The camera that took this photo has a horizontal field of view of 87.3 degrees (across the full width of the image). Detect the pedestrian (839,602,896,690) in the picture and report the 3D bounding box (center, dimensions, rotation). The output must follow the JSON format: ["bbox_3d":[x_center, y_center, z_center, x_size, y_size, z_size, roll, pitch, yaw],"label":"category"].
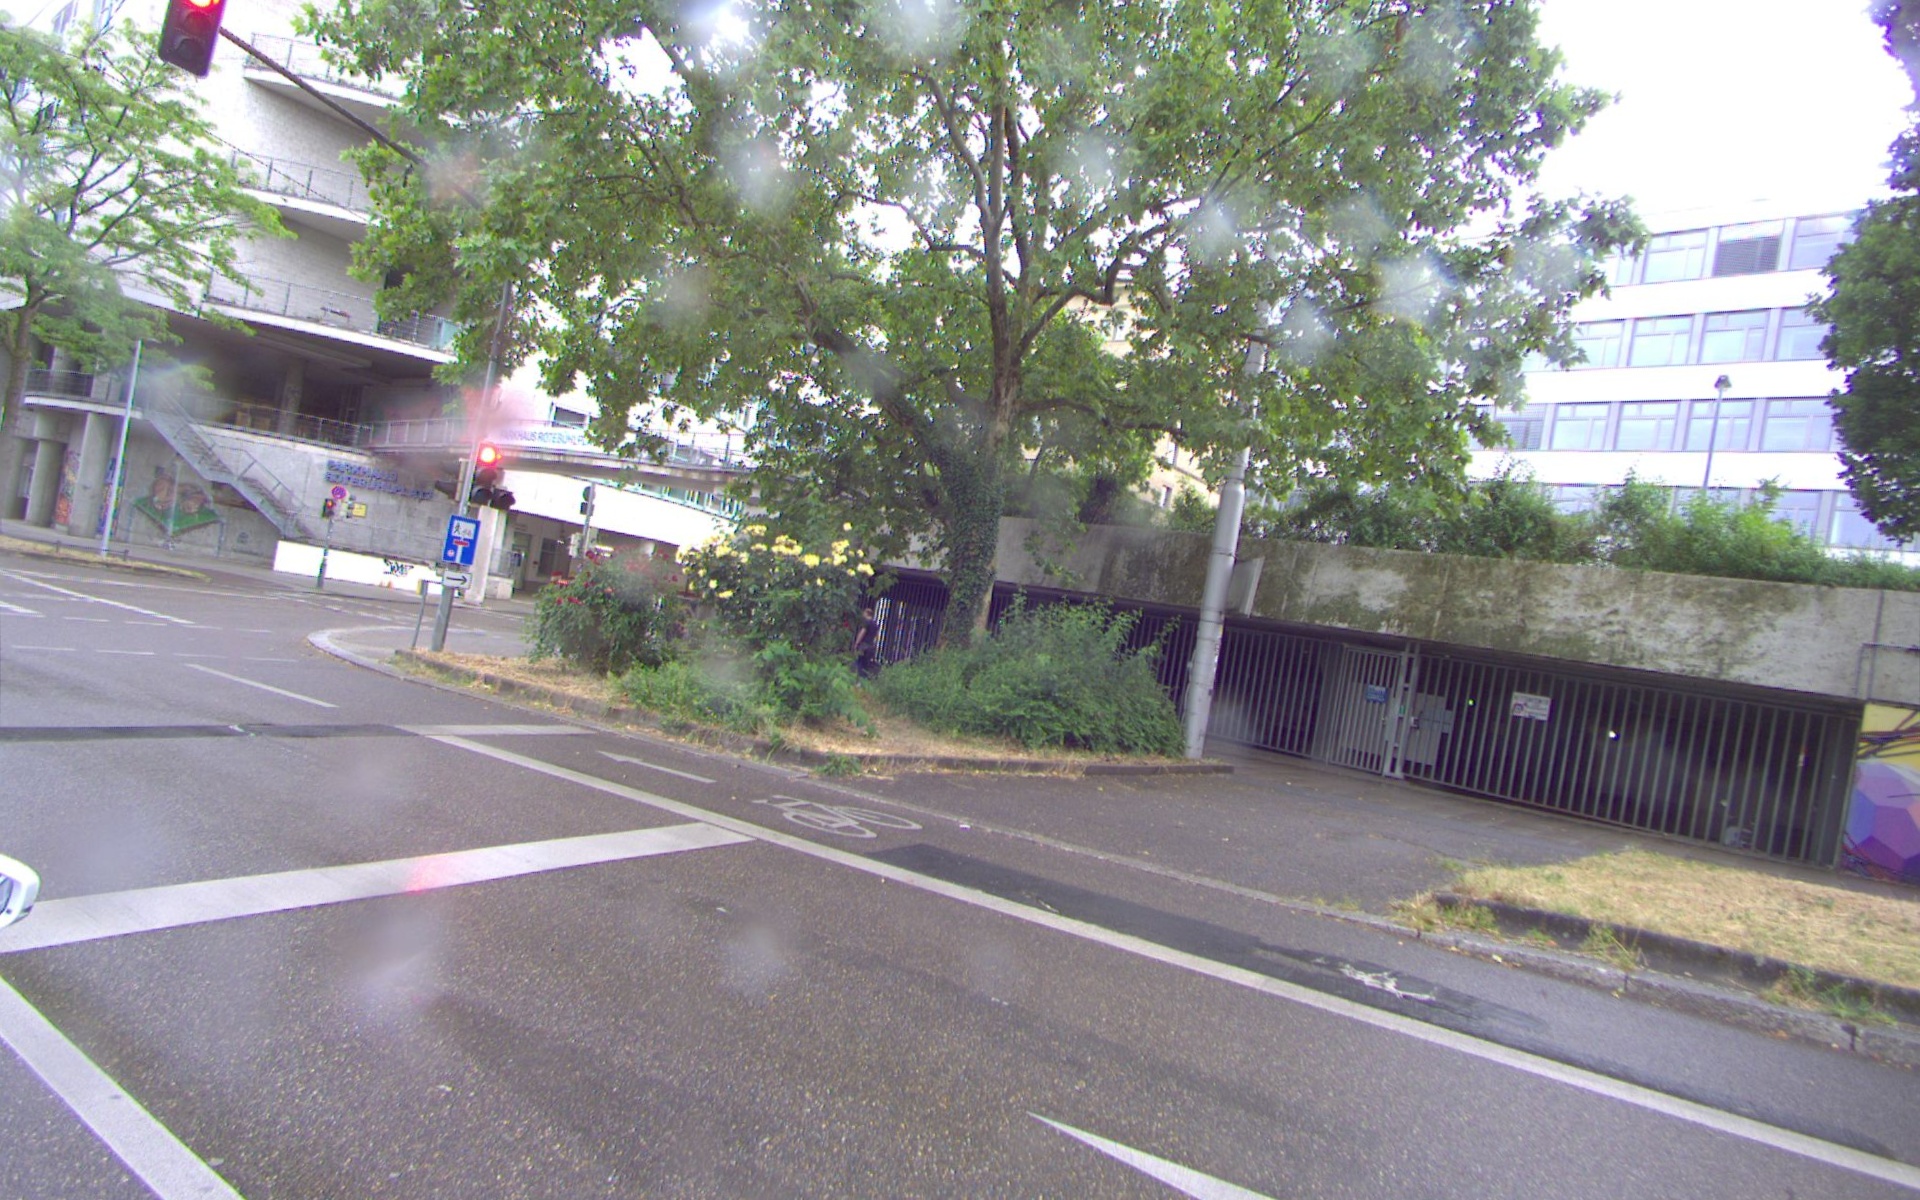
[{"bbox_3d":[-2.176,1.099,23.741,0.745,1.932,0.847,8,-1,31],"label":"pedestrian"}]
